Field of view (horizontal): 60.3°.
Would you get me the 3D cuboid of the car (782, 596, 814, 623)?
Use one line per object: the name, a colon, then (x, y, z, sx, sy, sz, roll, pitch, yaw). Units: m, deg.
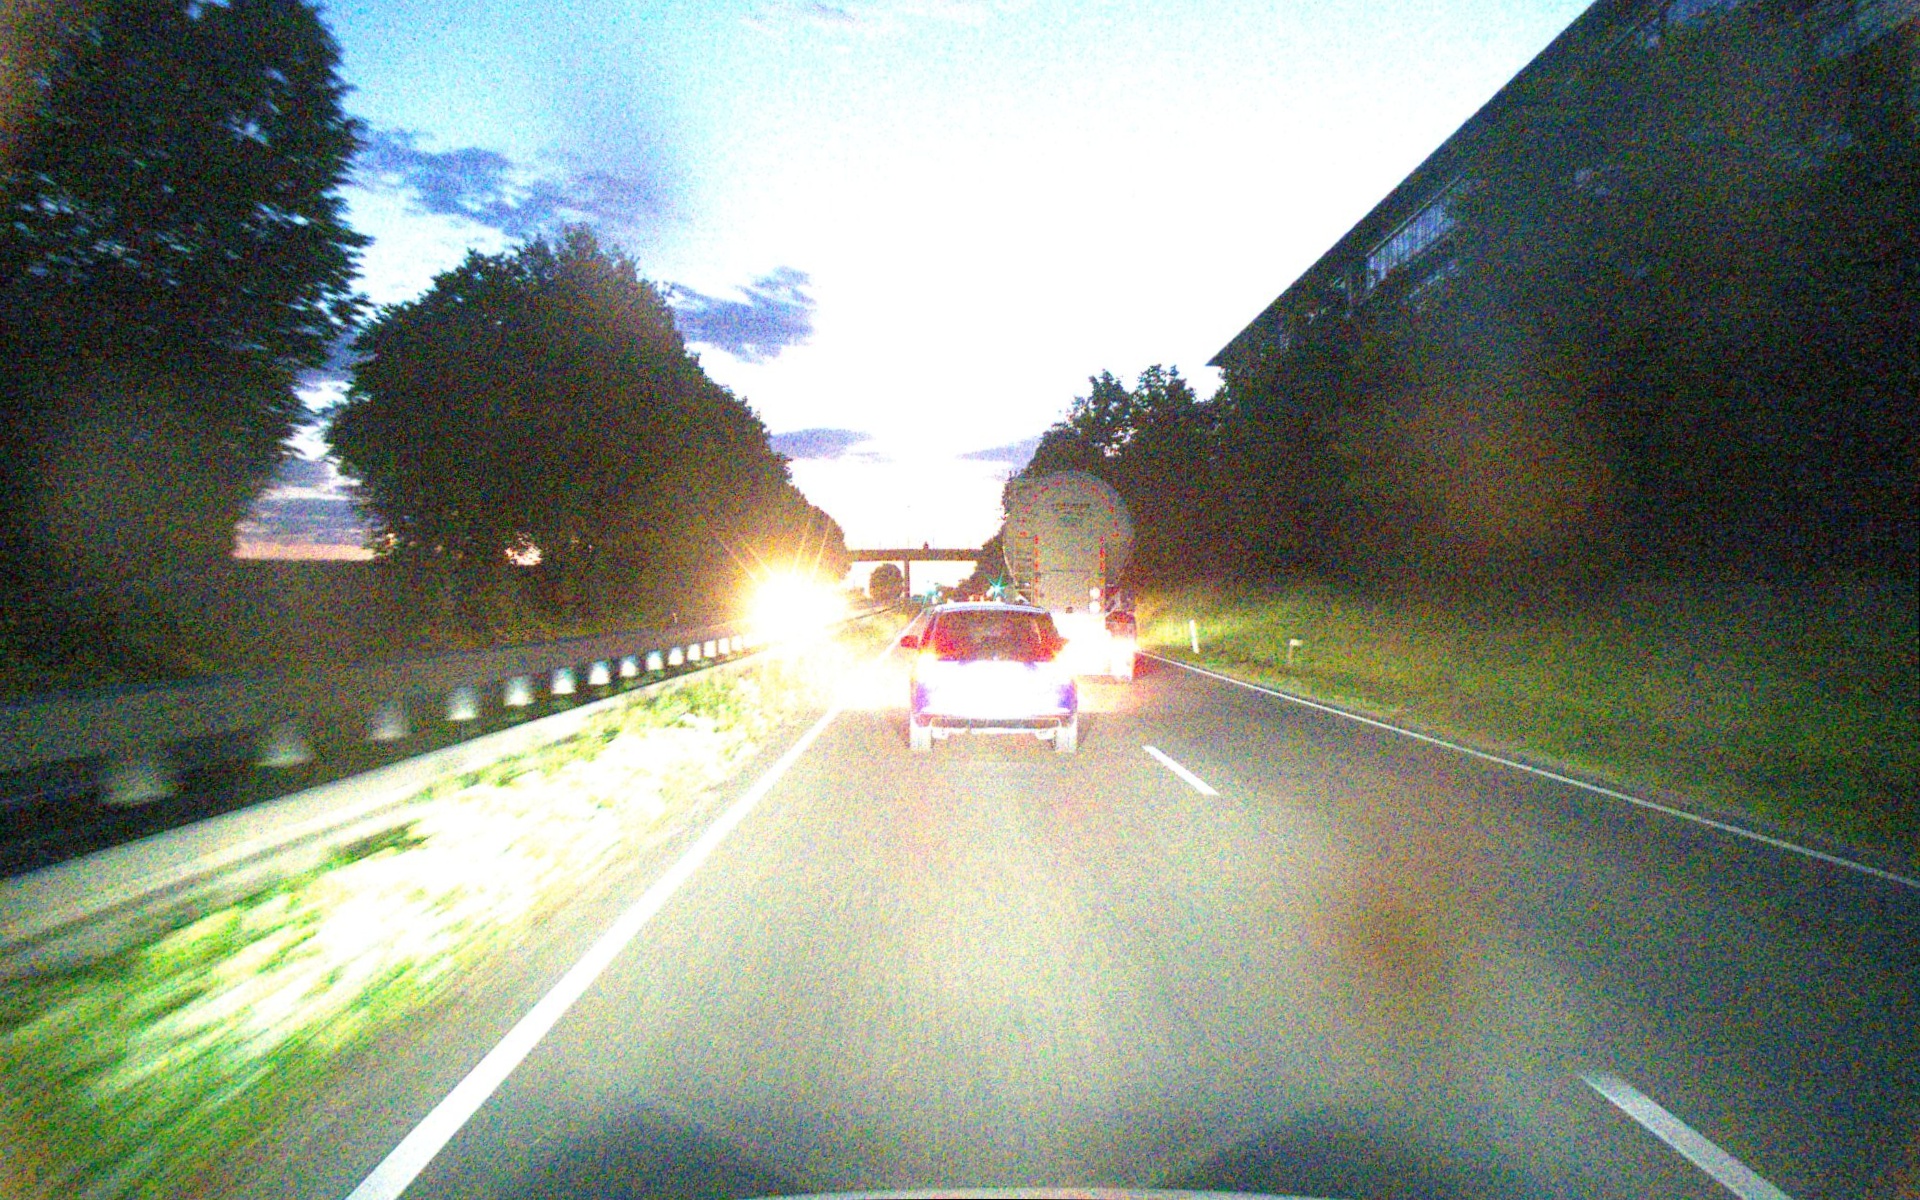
car: (-10.077, 0.558, 103.062, 1.648, 1.615, 4.166, 1, 0, -1)

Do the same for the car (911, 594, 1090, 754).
car: (0.351, 0.700, 17.419, 1.661, 1.478, 3.913, 1, 0, -1)

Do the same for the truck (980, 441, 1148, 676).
truck: (1.951, -0.720, 36.280, 2.633, 4.178, 13.138, 1, 0, -1)

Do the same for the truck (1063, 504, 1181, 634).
truck: (5.631, -0.965, 59.830, 2.824, 4.178, 12.680, 1, 0, -1)

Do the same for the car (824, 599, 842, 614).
car: (-12.956, 0.640, 168.384, 1.584, 1.533, 3.868, 1, 0, -1)

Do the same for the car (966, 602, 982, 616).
car: (1.518, 1.027, 184.764, 1.661, 1.478, 3.913, 1, 0, -1)
